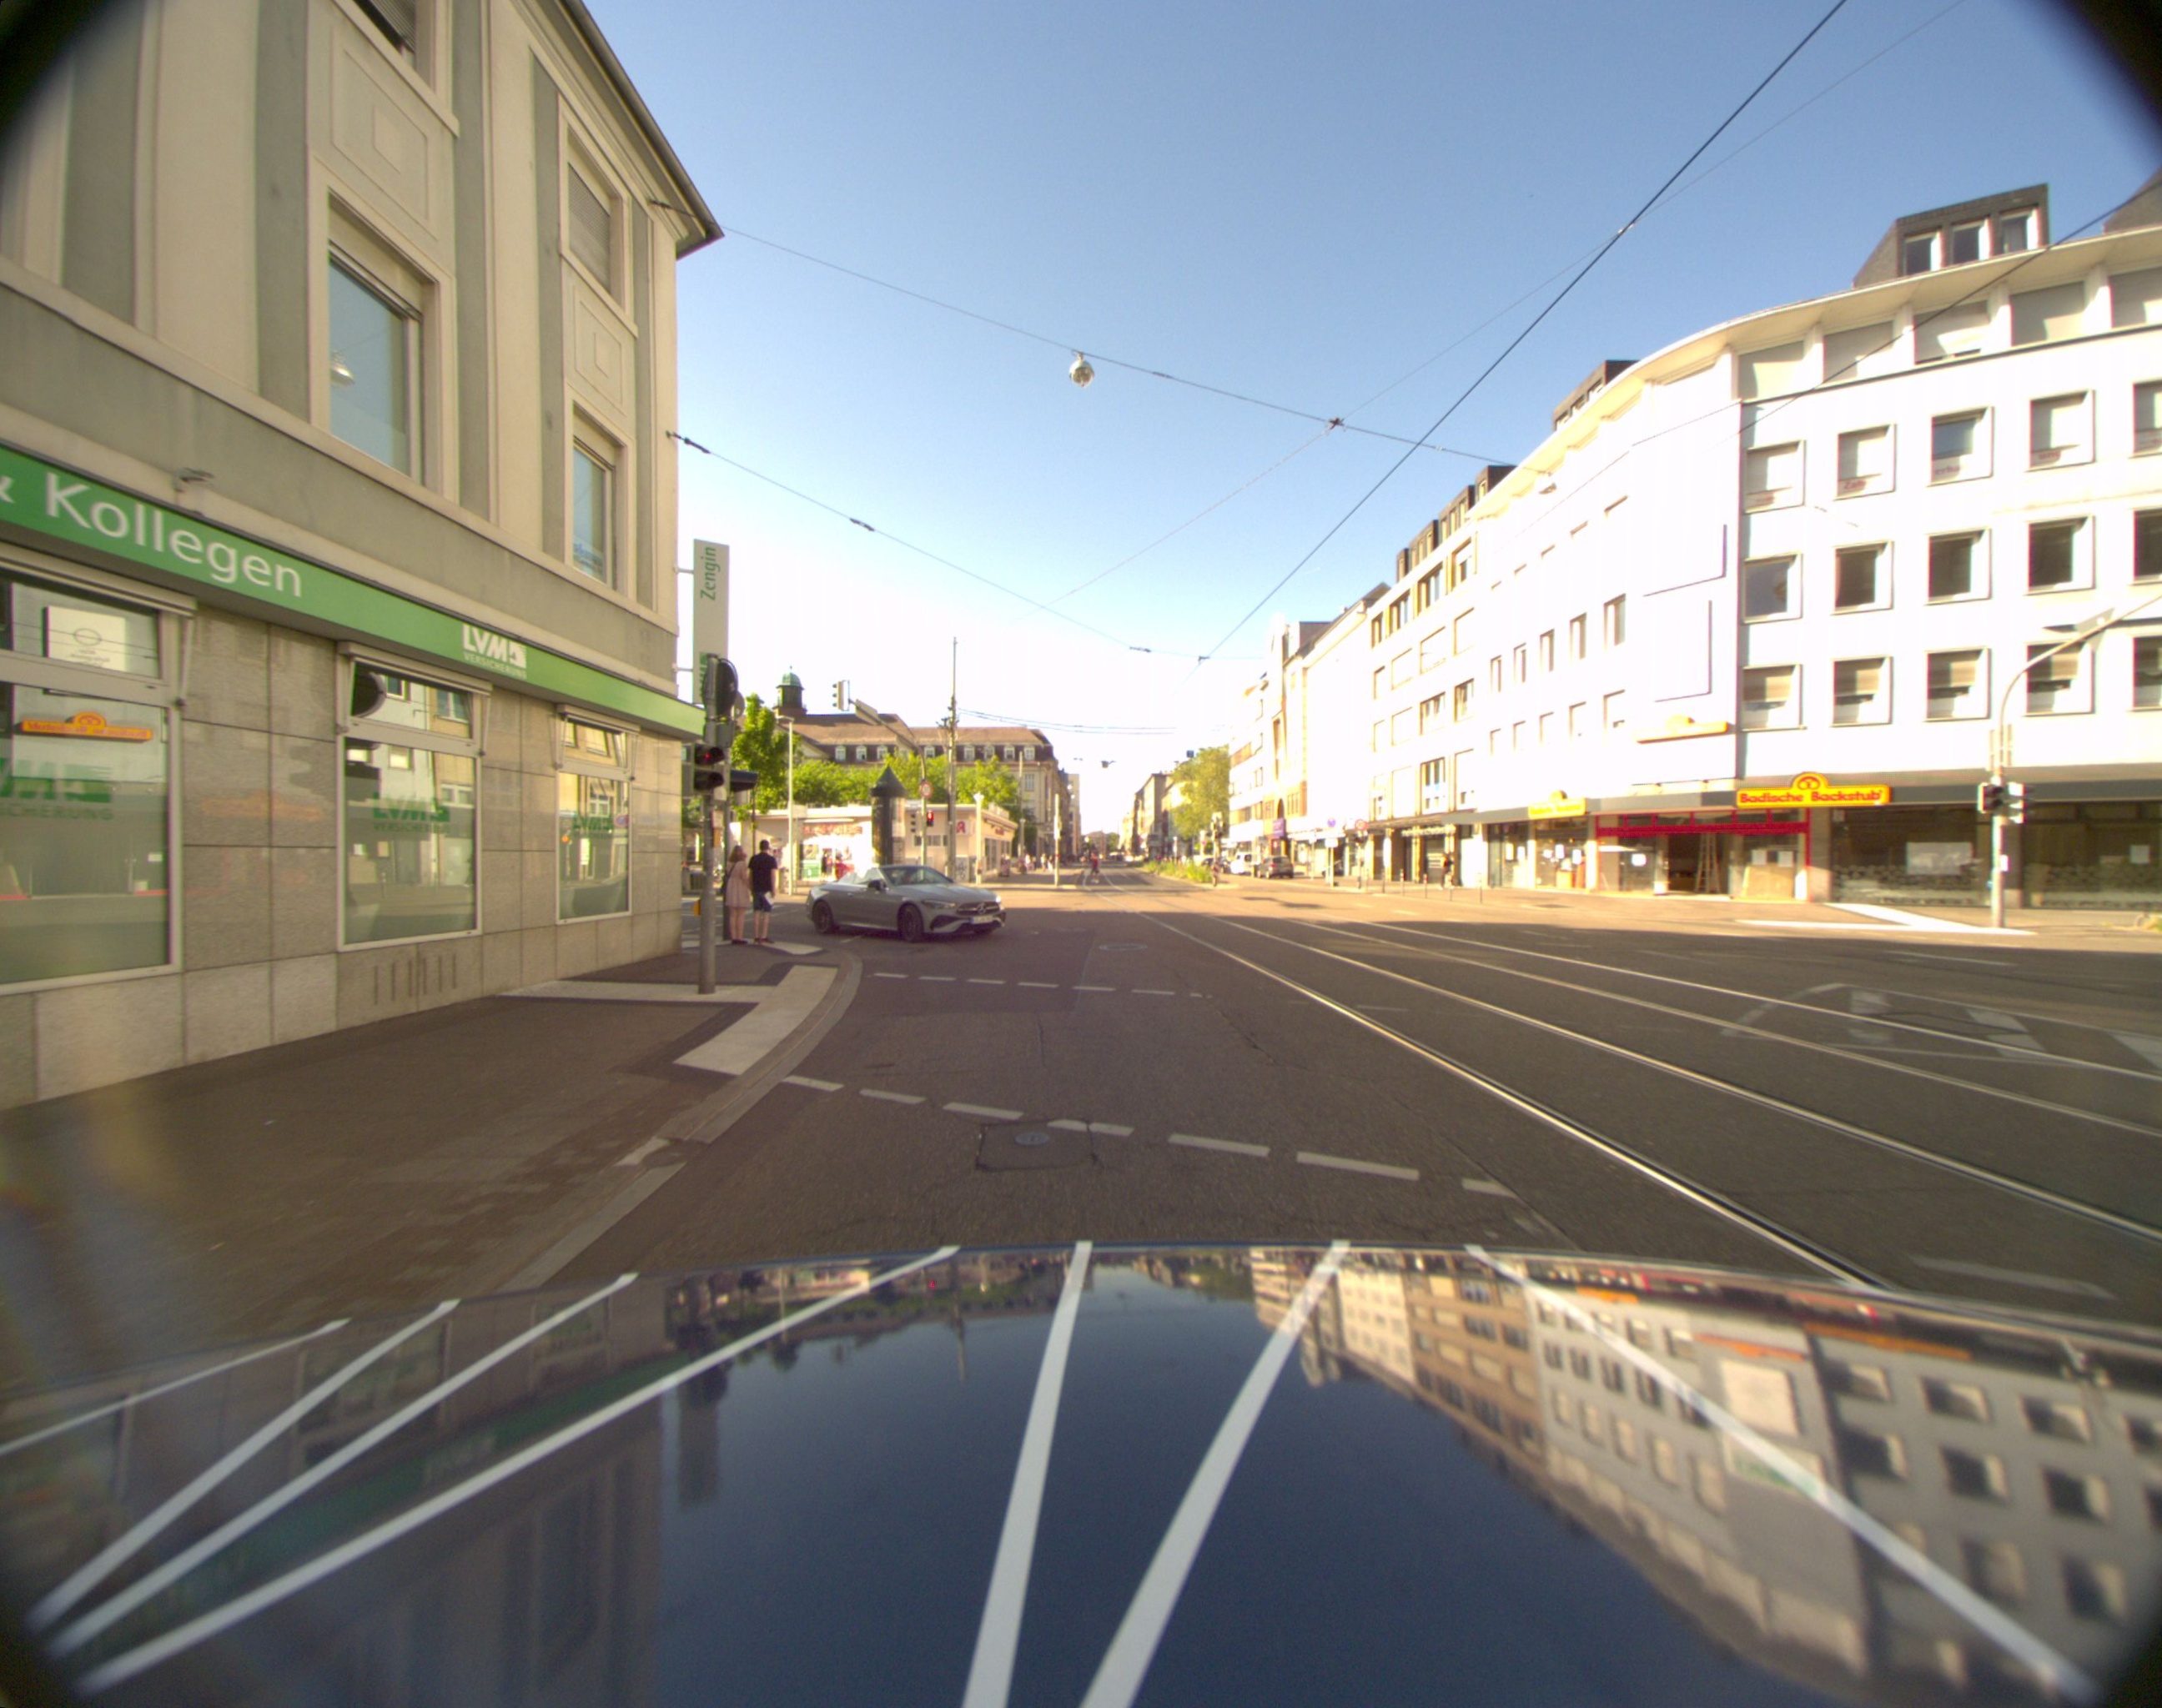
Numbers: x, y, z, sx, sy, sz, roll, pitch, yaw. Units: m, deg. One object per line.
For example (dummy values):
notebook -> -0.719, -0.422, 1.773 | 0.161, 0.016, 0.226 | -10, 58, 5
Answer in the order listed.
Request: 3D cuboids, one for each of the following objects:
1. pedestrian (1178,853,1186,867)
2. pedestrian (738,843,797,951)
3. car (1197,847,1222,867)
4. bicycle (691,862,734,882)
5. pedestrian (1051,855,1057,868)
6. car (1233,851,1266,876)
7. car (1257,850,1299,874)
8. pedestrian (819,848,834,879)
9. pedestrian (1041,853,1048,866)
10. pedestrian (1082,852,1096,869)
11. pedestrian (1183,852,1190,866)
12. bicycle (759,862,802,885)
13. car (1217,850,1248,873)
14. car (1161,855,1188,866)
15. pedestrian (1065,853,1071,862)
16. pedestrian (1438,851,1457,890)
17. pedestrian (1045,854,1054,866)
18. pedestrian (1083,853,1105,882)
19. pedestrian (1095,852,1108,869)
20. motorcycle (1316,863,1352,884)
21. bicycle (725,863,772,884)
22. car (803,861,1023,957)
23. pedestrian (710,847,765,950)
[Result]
pedestrian -> 12.396, 0.727, 93.392 | 0.578, 1.615, 0.708 | 1, 1, 44
pedestrian -> -5.465, 0.728, 13.259 | 0.680, 1.831, 0.643 | 0, 1, 25
car -> 13.441, 0.291, 79.784 | 1.998, 2.002, 4.000 | 0, 0, 1
bicycle -> -19.225, 0.925, 39.678 | 0.763, 0.996, 1.894 | 0, 1, 33
pedestrian -> -2.621, 0.689, 73.326 | 0.509, 1.266, 0.720 | 0, 1, 5
car -> 13.900, 0.780, 62.832 | 1.998, 2.002, 4.843 | 0, 0, 4
car -> 14.094, 0.545, 54.543 | 1.998, 1.696, 4.000 | 0, 0, 1
pedestrian -> -14.150, 0.530, 42.238 | 0.610, 1.699, 0.521 | 0, 0, 25
pedestrian -> -3.492, 0.552, 72.723 | 0.622, 1.266, 0.780 | 0, 1, 7
pedestrian -> 1.324, 1.061, 125.190 | 1.947, 2.774, 1.381 | 0, 1, 22
pedestrian -> 12.866, 0.572, 92.871 | 0.578, 1.705, 0.708 | 1, 1, 44
bicycle -> -15.041, 0.968, 38.108 | 0.751, 1.082, 1.998 | 0, 1, 27
car -> 13.614, 0.628, 68.500 | 1.998, 2.002, 4.000 | 0, 0, 1
car -> 14.589, 1.001, 118.141 | 3.996, 1.787, 2.000 | 0, 0, 2
pedestrian -> -1.824, 0.485, 107.285 | 0.691, 1.372, 0.780 | 0, 1, 2
pedestrian -> 16.345, 0.721, 33.858 | 0.710, 1.699, 0.561 | 0, 0, 22
pedestrian -> -3.831, 0.779, 92.294 | 0.946, 1.456, 0.780 | 0, 1, 2
pedestrian -> 0.754, 0.782, 43.447 | 0.947, 1.653, 0.915 | 0, 0, -24
pedestrian -> 3.475, 1.038, 126.174 | 1.835, 2.774, 1.295 | 0, 1, 22
motorcycle -> 18.019, 1.368, 54.113 | 2.254, 1.496, 1.000 | 0, 0, -2
bicycle -> -17.098, 0.991, 39.114 | 0.885, 0.996, 2.023 | 1, 1, 39
car -> -3.360, 0.929, 14.765 | 4.350, 1.454, 1.915 | 1, 3, 40
pedestrian -> -6.002, 0.750, 13.284 | 0.648, 1.749, 0.575 | 0, 1, 25
